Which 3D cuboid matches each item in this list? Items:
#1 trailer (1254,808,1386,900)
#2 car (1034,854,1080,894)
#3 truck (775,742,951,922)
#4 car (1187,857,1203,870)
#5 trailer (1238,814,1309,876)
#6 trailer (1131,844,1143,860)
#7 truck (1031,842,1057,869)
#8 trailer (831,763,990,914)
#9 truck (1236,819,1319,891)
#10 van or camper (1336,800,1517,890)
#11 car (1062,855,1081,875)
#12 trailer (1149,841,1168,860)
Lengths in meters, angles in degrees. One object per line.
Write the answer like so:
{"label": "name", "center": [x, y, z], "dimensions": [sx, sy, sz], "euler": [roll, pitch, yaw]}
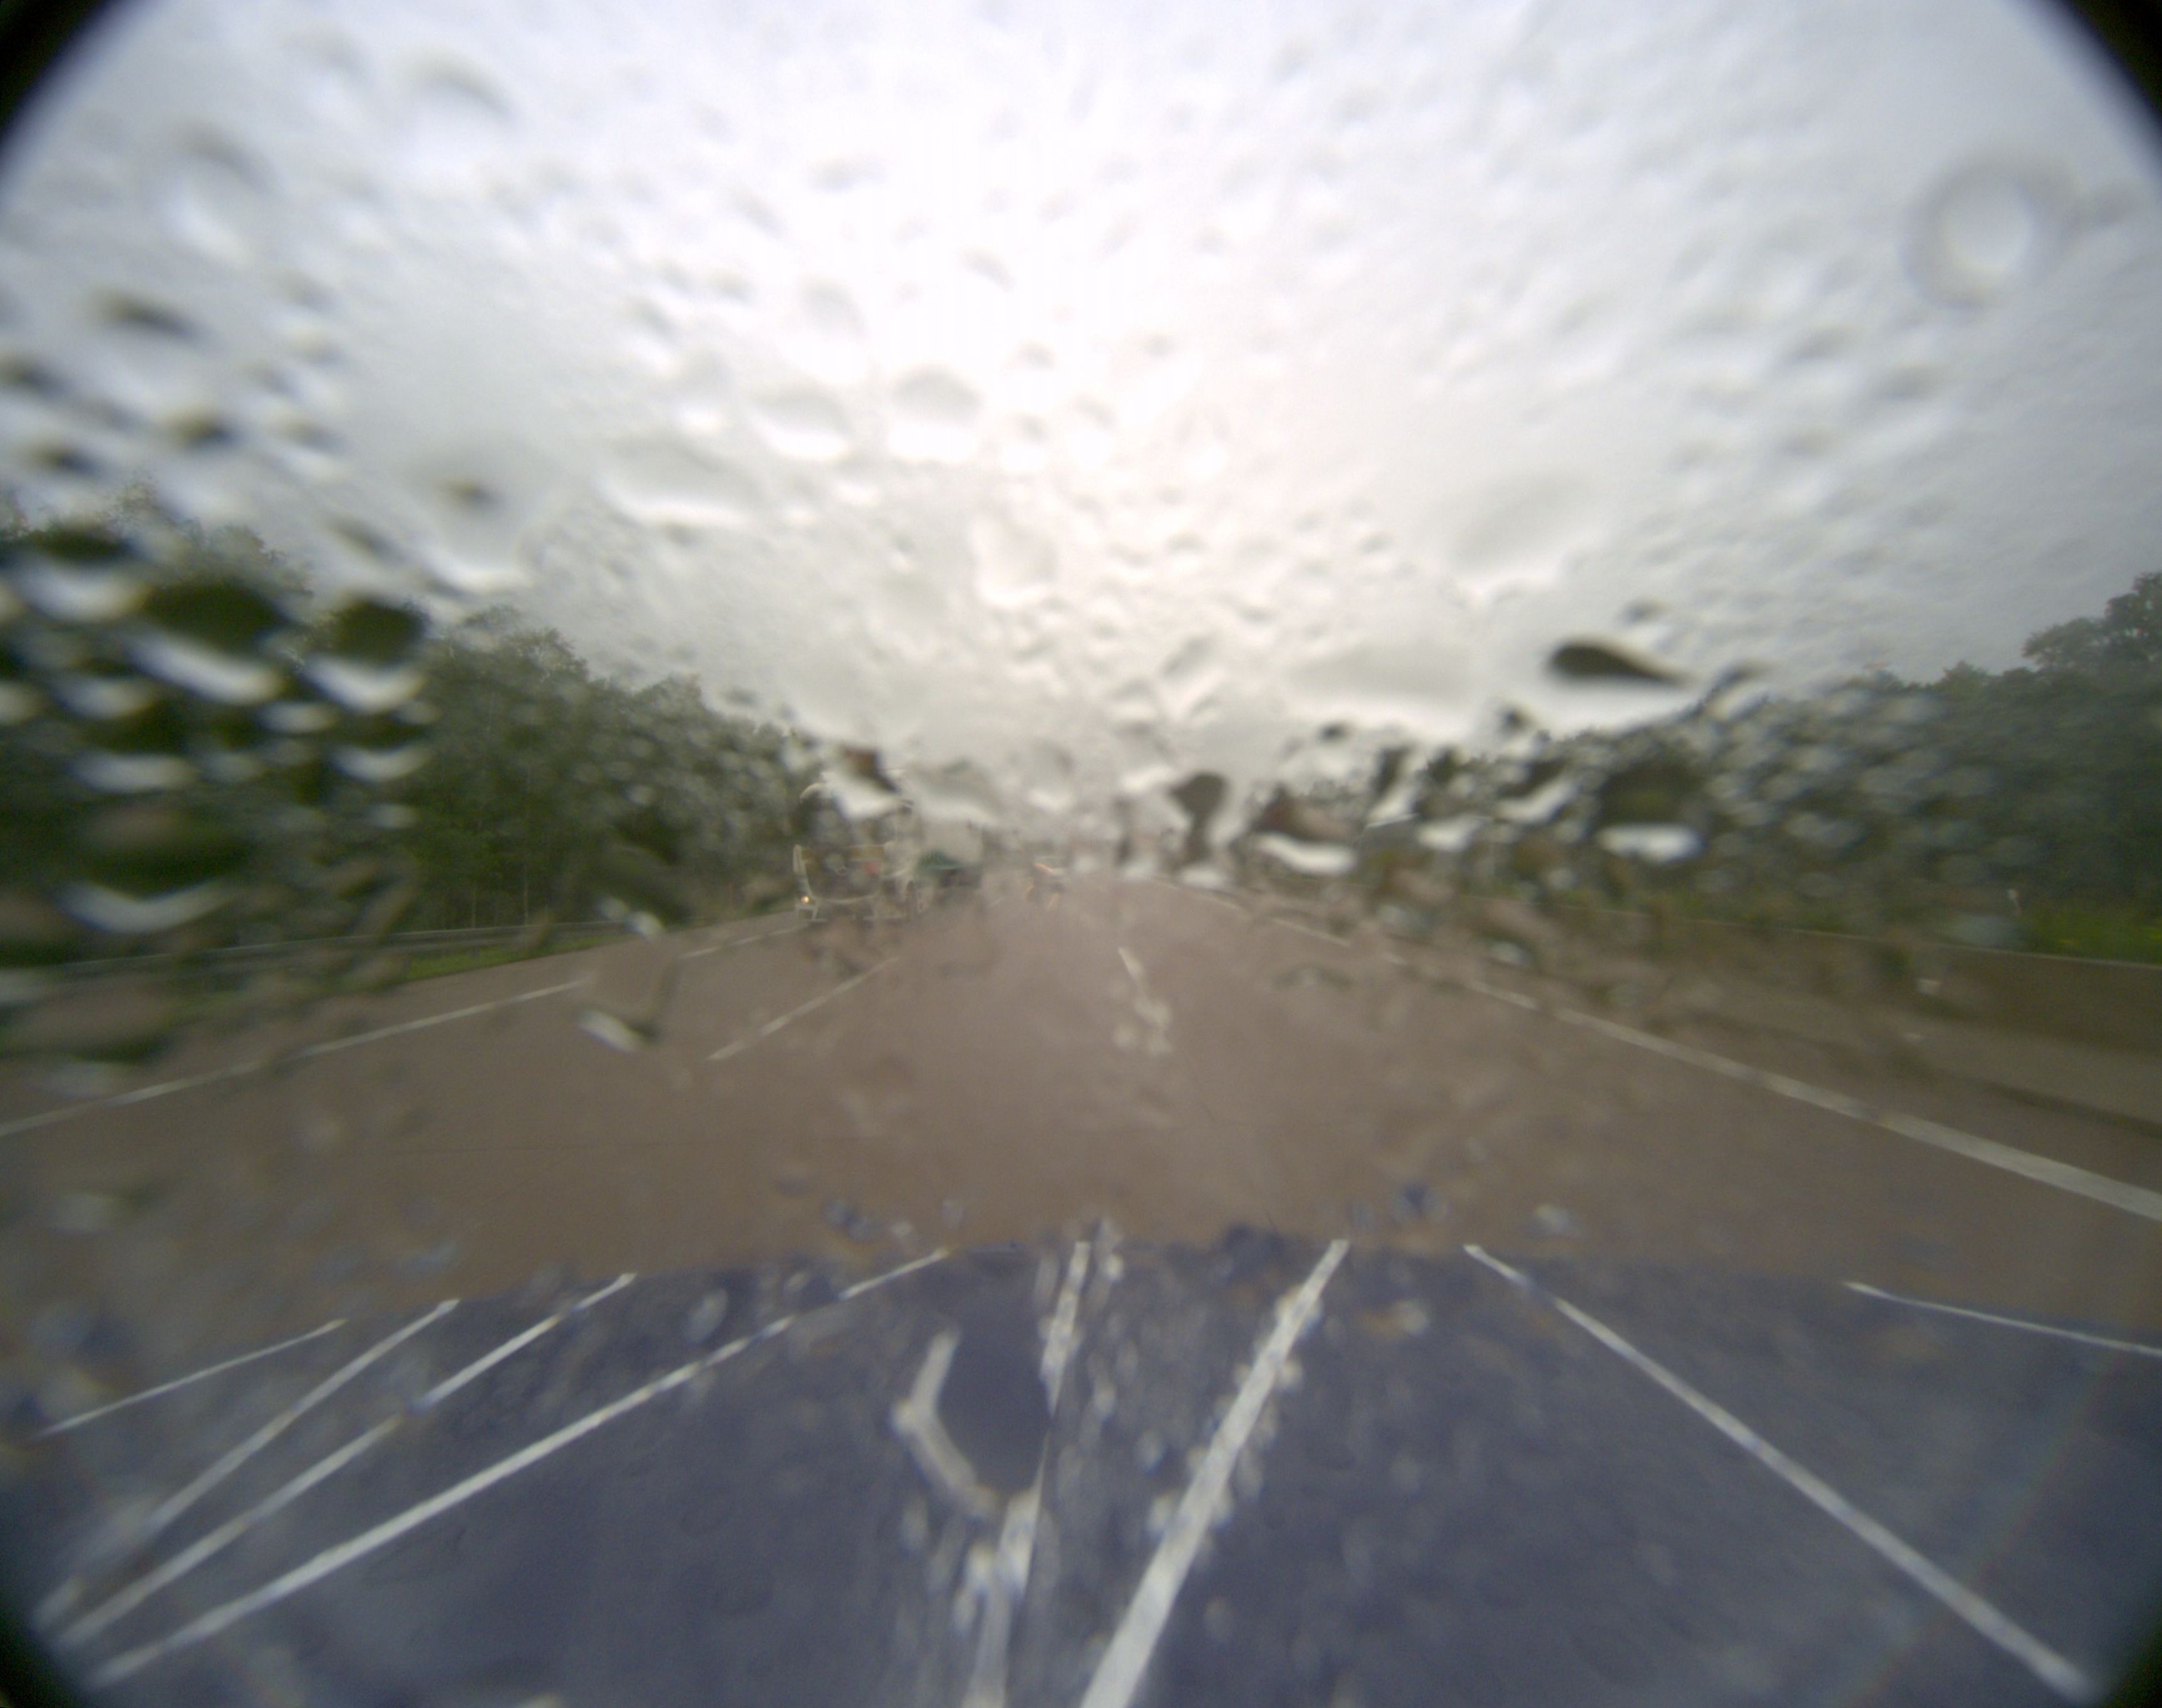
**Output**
{"label": "trailer", "center": [15.033, -0.043, 49.701], "dimensions": [4.001, 5.030, 14.235], "euler": [-2, 0, 0]}
{"label": "car", "center": [-1.073, 0.885, 35.799], "dimensions": [1.812, 1.718, 4.744], "euler": [-1, 0, 2]}
{"label": "truck", "center": [-5.507, -0.460, 20.444], "dimensions": [2.888, 4.082, 6.349], "euler": [0, 0, 0]}
{"label": "car", "center": [13.375, 1.088, 89.067], "dimensions": [1.419, 1.349, 3.084], "euler": [-4, 0, 1]}
{"label": "trailer", "center": [18.760, -0.856, 75.365], "dimensions": [3.439, 5.409, 14.235], "euler": [-2, 0, 0]}
{"label": "trailer", "center": [18.527, -0.665, 252.153], "dimensions": [3.438, 4.838, 12.445], "euler": [-2, 0, 1]}
{"label": "truck", "center": [-5.482, 0.257, 113.896], "dimensions": [3.242, 3.708, 7.955], "euler": [-2, 0, 1]}
{"label": "trailer", "center": [-5.529, -0.360, 27.734], "dimensions": [2.860, 4.206, 13.132], "euler": [0, -1, 0]}
{"label": "truck", "center": [15.014, 0.041, 58.893], "dimensions": [3.935, 4.985, 8.951], "euler": [-2, 0, 0]}
{"label": "van or camper", "center": [11.021, -0.262, 25.090], "dimensions": [2.797, 2.391, 6.488], "euler": [-5, 0, -1]}
{"label": "car", "center": [-1.085, 1.223, 87.493], "dimensions": [1.999, 2.002, 4.276], "euler": [-5, 0, -1]}
{"label": "trailer", "center": [18.787, -0.779, 184.822], "dimensions": [3.439, 4.439, 12.446], "euler": [0, -1, 0]}
